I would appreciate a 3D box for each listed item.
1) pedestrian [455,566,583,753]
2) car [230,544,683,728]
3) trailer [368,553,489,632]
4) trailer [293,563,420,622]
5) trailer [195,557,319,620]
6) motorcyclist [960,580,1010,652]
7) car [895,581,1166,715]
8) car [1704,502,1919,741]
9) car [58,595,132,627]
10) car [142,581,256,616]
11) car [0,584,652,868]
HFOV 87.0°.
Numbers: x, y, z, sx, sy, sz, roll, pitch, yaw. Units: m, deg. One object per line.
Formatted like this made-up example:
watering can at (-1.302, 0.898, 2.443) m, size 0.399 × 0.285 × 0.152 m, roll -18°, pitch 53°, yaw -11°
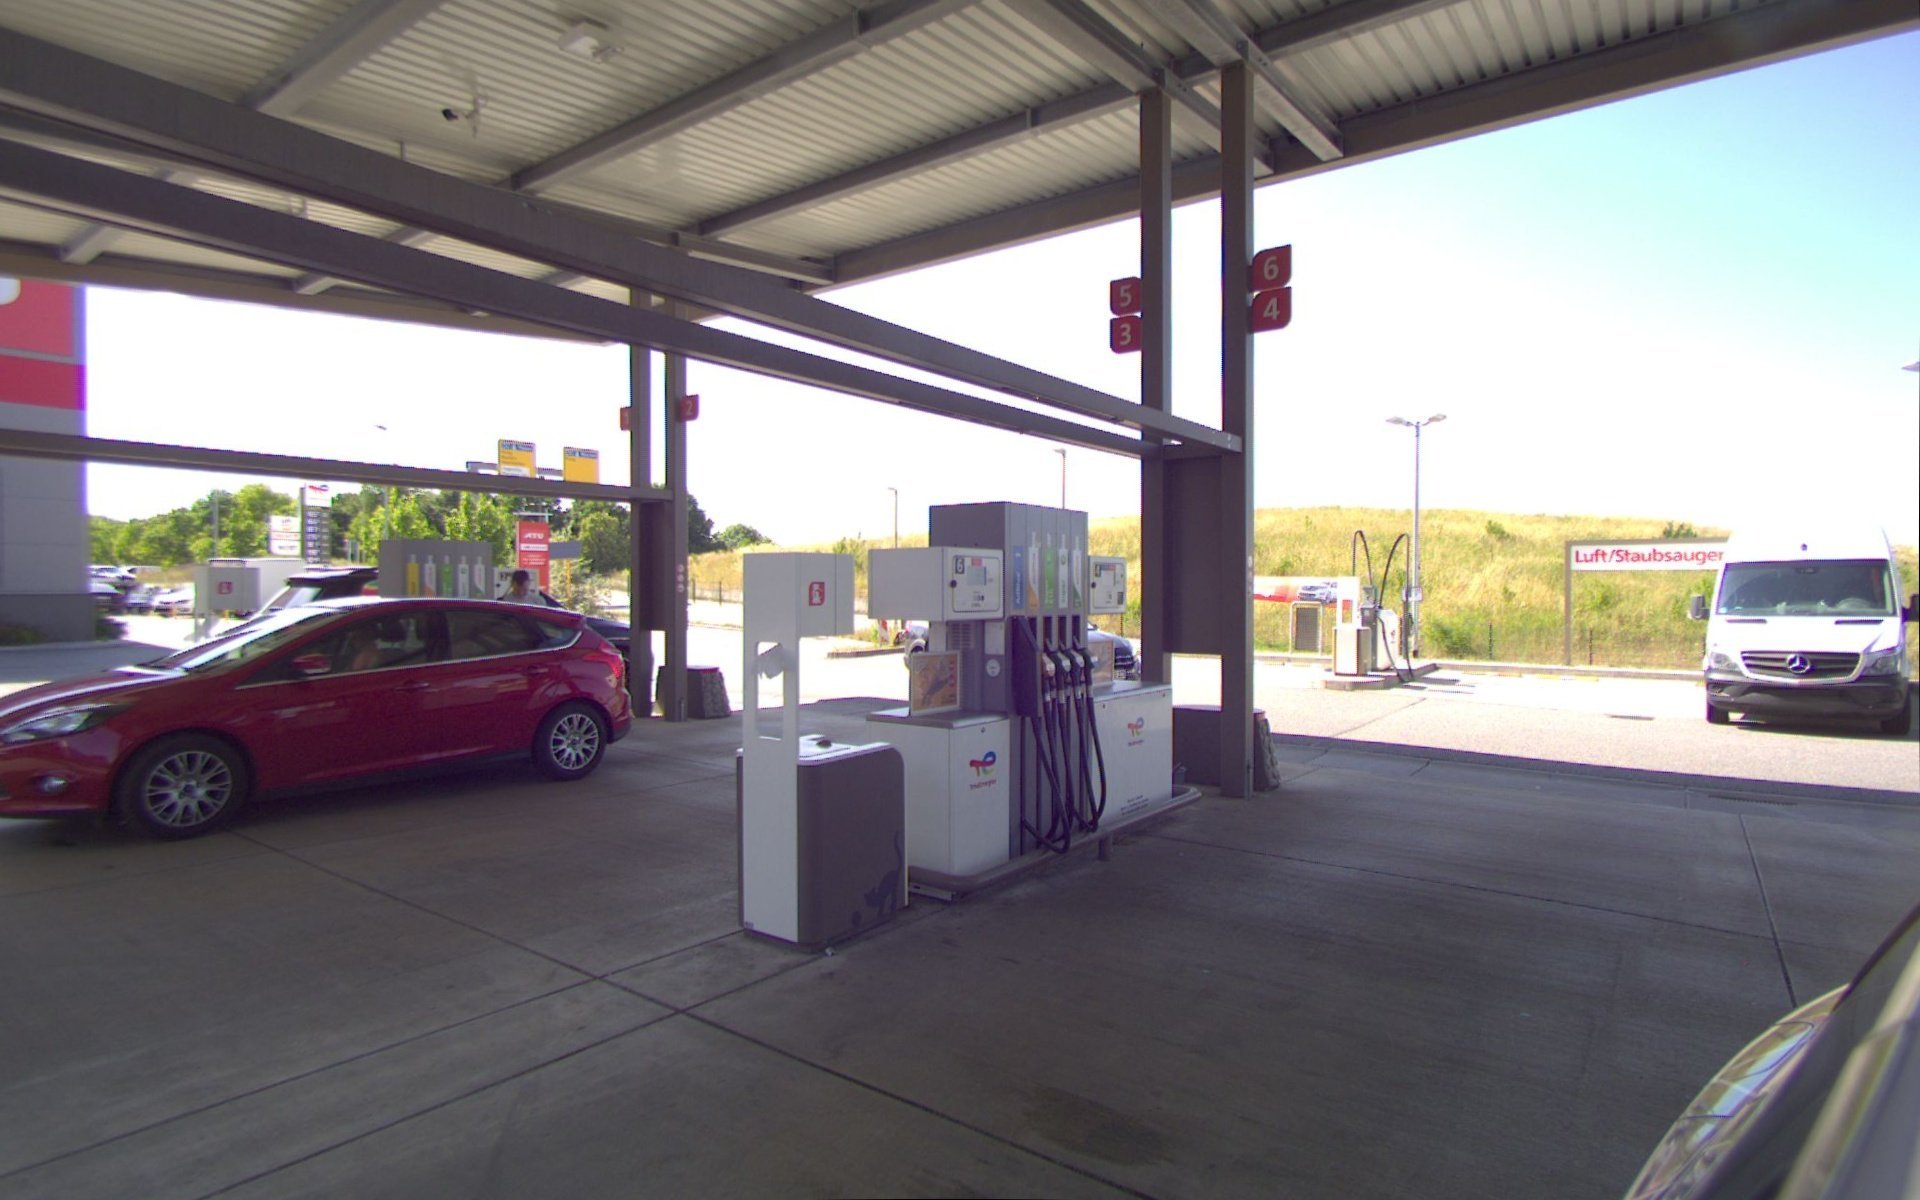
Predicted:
pedestrian at (-4.316, 0.546, 9.927) m, size 0.698 × 1.724 × 0.917 m, roll 0°, pitch 0°, yaw 34°
car at (-6.085, 0.381, 12.826) m, size 2.022 × 1.874 × 4.734 m, roll 1°, pitch 0°, yaw 36°
trailer at (-17.609, -0.261, 33.764) m, size 1.961 × 2.458 × 4.001 m, roll 1°, pitch 0°, yaw -1°
trailer at (-21.974, -0.287, 37.027) m, size 1.775 × 2.039 × 3.986 m, roll 1°, pitch 0°, yaw 12°
trailer at (-28.648, -0.476, 41.409) m, size 1.967 × 2.458 × 3.990 m, roll 1°, pitch 0°, yaw 9°
motorcyclist at (0.615, 0.372, 24.672) m, size 1.019 × 1.709 × 1.095 m, roll 1°, pitch 0°, yaw 12°
car at (0.832, 0.580, 15.032) m, size 1.709 × 1.665 × 4.636 m, roll 1°, pitch 0°, yaw -30°
car at (12.124, 0.091, 14.196) m, size 1.993 × 2.602 × 6.925 m, roll 1°, pitch 3°, yaw 42°
car at (-39.001, 0.465, 45.613) m, size 3.811 × 1.334 × 1.660 m, roll 1°, pitch 1°, yaw 35°
car at (-31.095, -0.070, 41.498) m, size 1.651 × 1.334 × 3.833 m, roll 1°, pitch 1°, yaw 3°
car at (-4.536, 0.653, 7.465) m, size 1.694 × 1.487 × 4.178 m, roll 1°, pitch 0°, yaw 36°
